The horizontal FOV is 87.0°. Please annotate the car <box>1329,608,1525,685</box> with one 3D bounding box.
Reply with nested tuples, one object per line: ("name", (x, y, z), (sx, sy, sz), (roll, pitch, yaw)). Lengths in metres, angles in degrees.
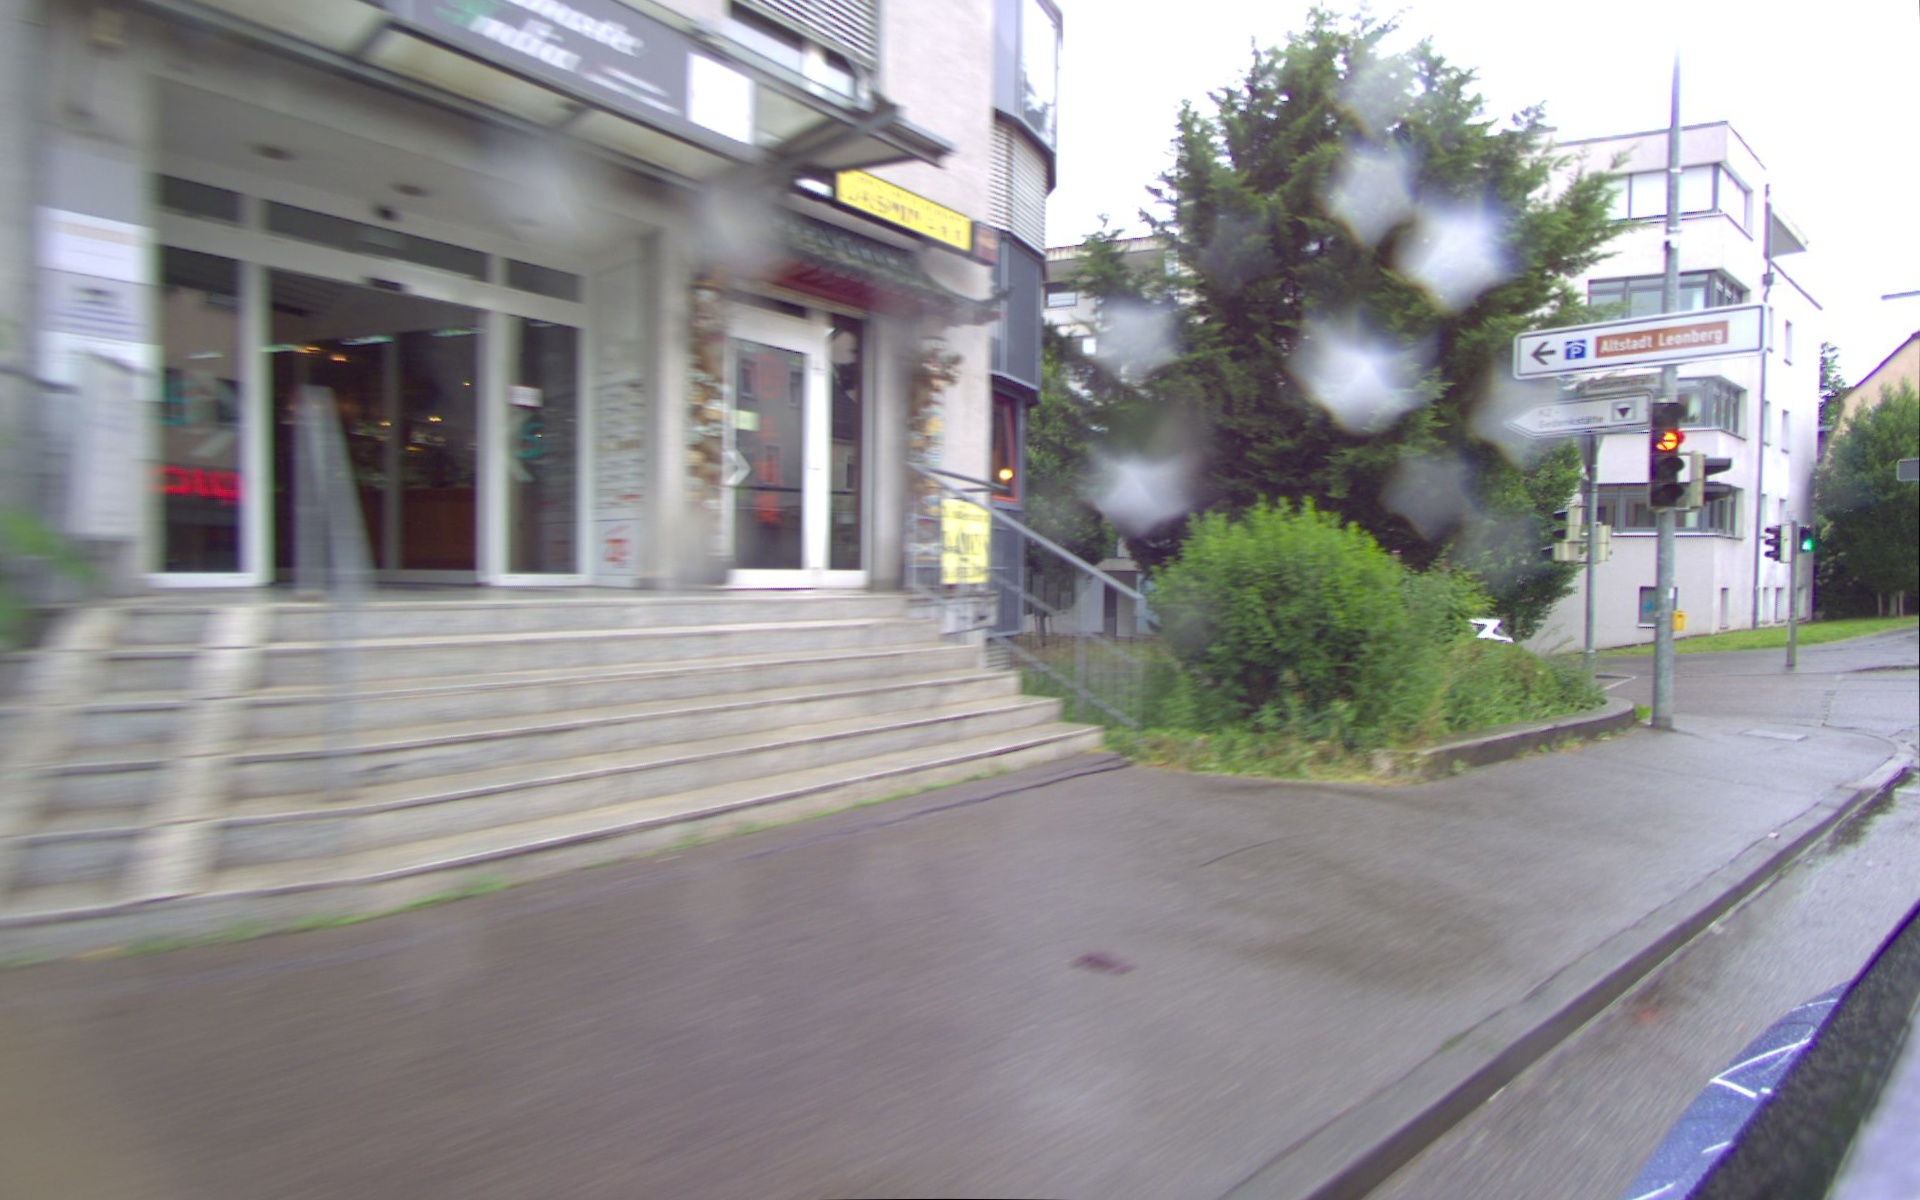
("car", (10.265, 0.958, 22.388), (3.800, 1.469, 1.775), (1, 2, 27))
